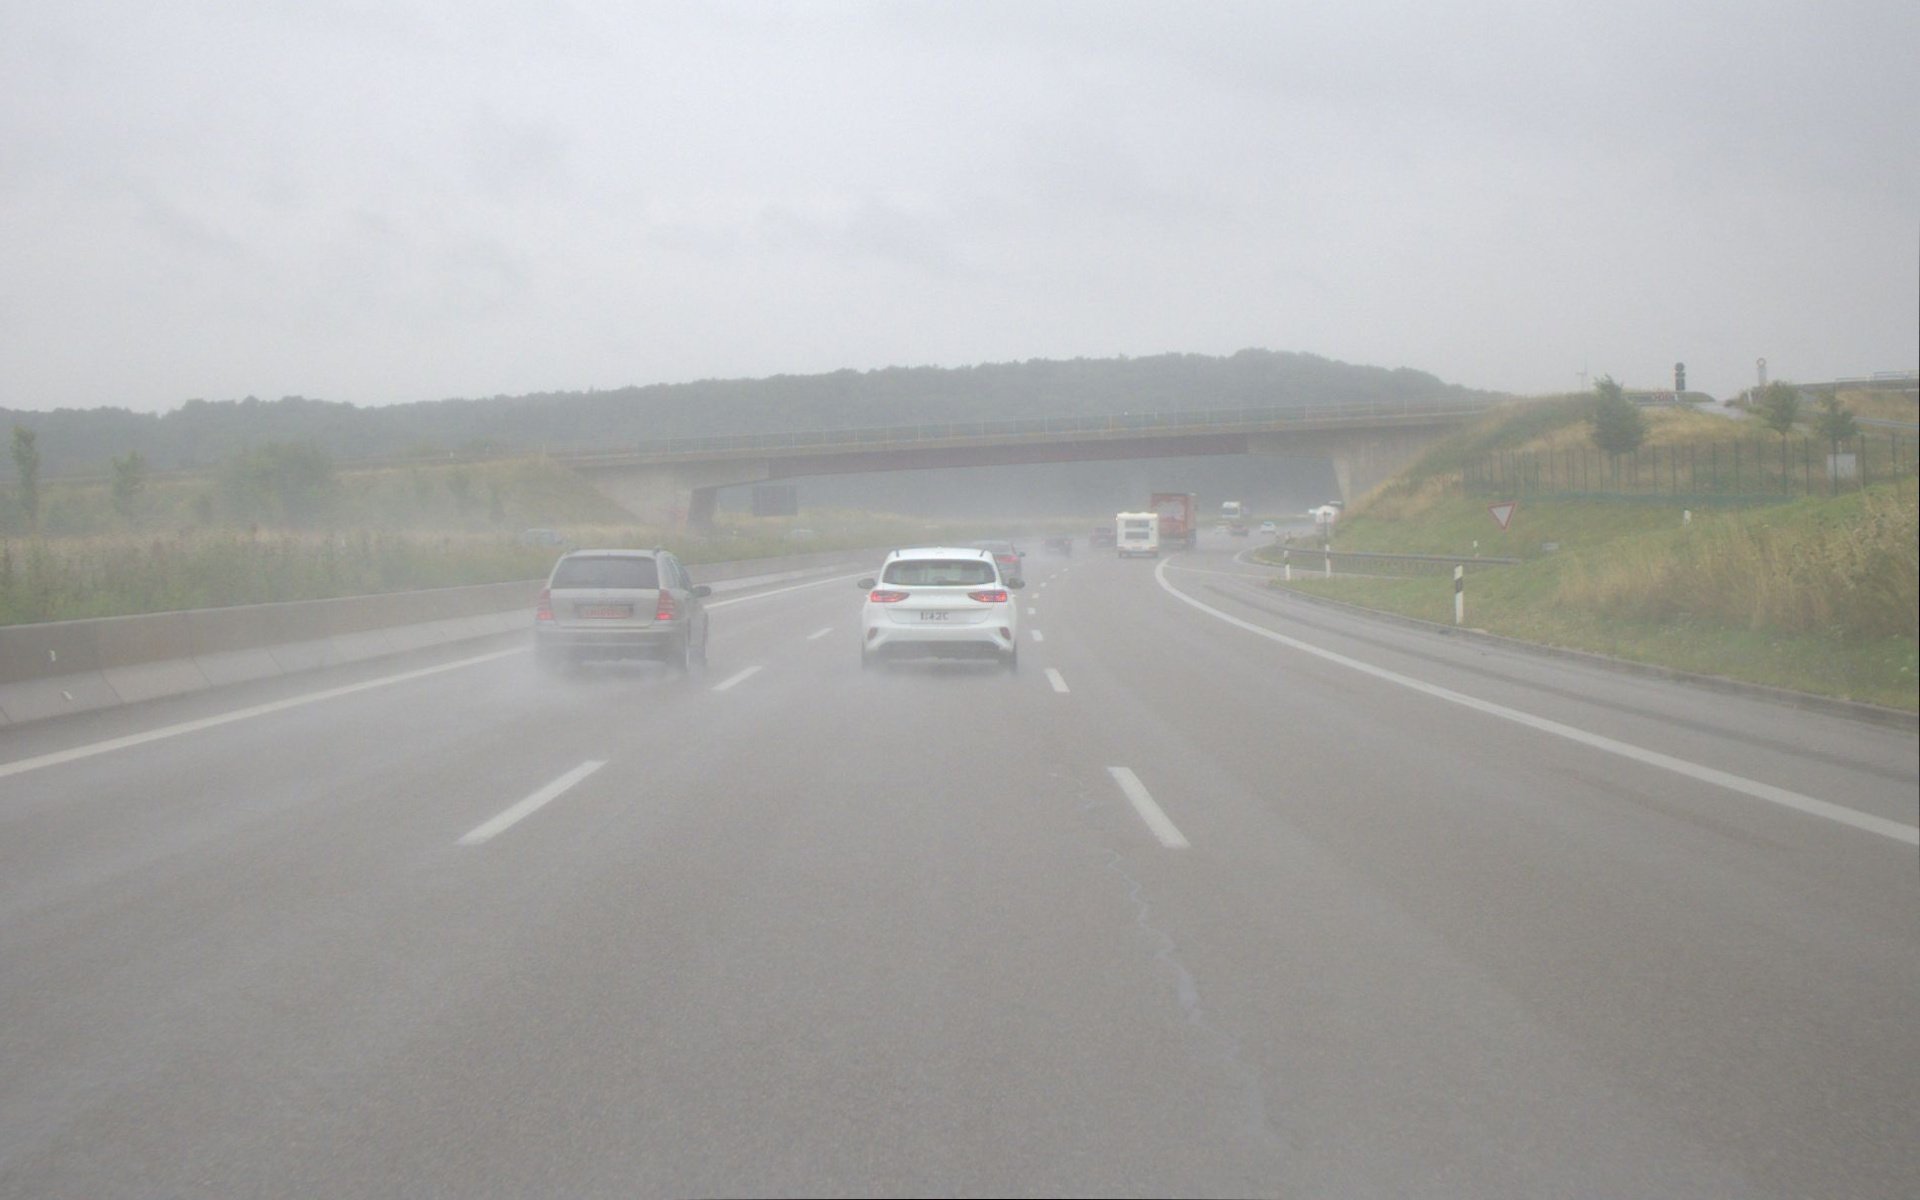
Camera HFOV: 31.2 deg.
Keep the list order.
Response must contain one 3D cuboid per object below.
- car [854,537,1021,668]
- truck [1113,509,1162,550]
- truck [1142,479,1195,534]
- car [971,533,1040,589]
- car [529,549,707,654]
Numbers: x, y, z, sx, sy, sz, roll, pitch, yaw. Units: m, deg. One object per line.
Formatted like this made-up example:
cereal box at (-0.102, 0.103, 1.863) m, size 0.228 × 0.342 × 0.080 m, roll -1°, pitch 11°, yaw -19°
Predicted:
car at (-0.260, 0.001, 40.712) m, size 1.867 × 1.458 × 4.000 m, roll 0°, pitch 1°, yaw 0°
truck at (9.935, -3.955, 191.785) m, size 2.408 × 2.244 × 4.692 m, roll 0°, pitch 1°, yaw 7°
truck at (14.918, -6.752, 246.524) m, size 3.527 × 3.730 × 11.426 m, roll 1°, pitch 2°, yaw 3°
car at (1.373, -1.185, 102.665) m, size 1.993 × 1.612 × 4.000 m, roll 0°, pitch 1°, yaw 1°
car at (-3.944, 0.003, 40.203) m, size 1.823 × 1.152 × 4.213 m, roll 1°, pitch 0°, yaw -2°
